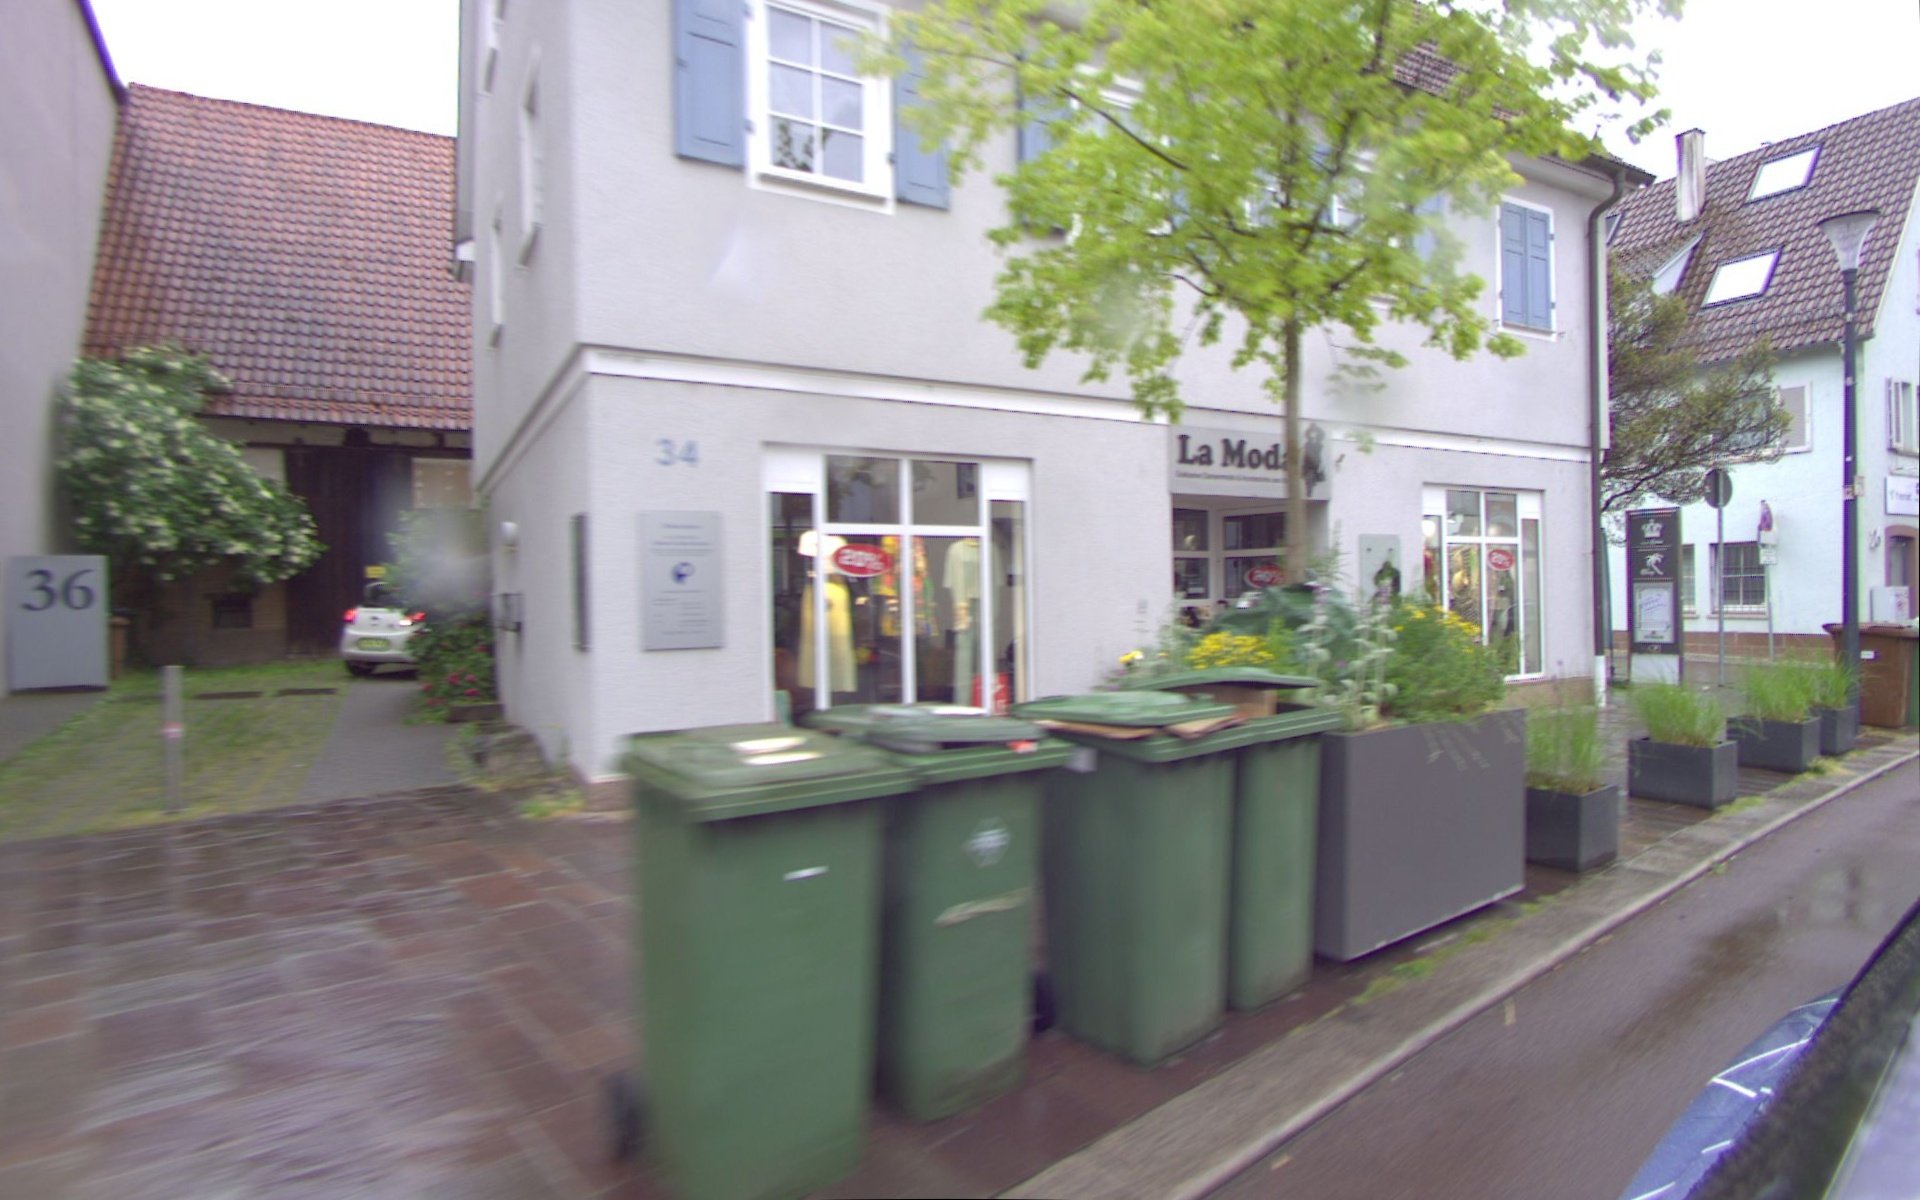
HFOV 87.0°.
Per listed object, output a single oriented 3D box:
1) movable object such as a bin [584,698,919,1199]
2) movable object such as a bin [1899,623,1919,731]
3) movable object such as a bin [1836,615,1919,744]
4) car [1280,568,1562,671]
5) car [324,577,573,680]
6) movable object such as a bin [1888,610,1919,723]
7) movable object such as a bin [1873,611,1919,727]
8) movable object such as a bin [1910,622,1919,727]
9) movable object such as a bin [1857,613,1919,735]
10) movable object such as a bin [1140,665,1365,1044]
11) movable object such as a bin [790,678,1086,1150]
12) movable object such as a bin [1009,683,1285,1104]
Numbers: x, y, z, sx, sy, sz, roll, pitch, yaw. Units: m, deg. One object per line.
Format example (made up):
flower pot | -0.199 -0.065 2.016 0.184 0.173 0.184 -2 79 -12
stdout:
movable object such as a bin | -0.551 0.849 2.577 0.566 1.094 0.730 -1 0 -37
movable object such as a bin | 11.627 0.913 11.972 0.532 1.261 0.660 -1 0 -34
movable object such as a bin | 9.754 0.804 10.625 0.717 1.256 0.680 -1 0 -35
car | 8.272 0.305 18.527 4.285 1.676 1.821 1 1 7
car | -8.395 0.372 17.027 1.562 1.497 3.984 1 1 13
movable object such as a bin | 11.201 0.761 11.625 0.532 1.272 0.680 -1 0 -34
movable object such as a bin | 10.743 0.763 11.314 0.554 1.248 0.680 -1 0 -34
movable object such as a bin | 12.094 0.912 12.308 0.609 1.254 0.660 -1 0 -34
movable object such as a bin | 10.281 0.789 10.990 0.554 1.266 0.680 -1 0 -34
movable object such as a bin | 1.060 0.854 3.685 0.566 1.170 0.545 -1 0 -37
movable object such as a bin | -0.083 0.833 3.030 0.551 1.115 0.731 -1 0 -37
movable object such as a bin | 0.601 0.874 3.336 0.551 1.115 0.694 -1 0 -37
